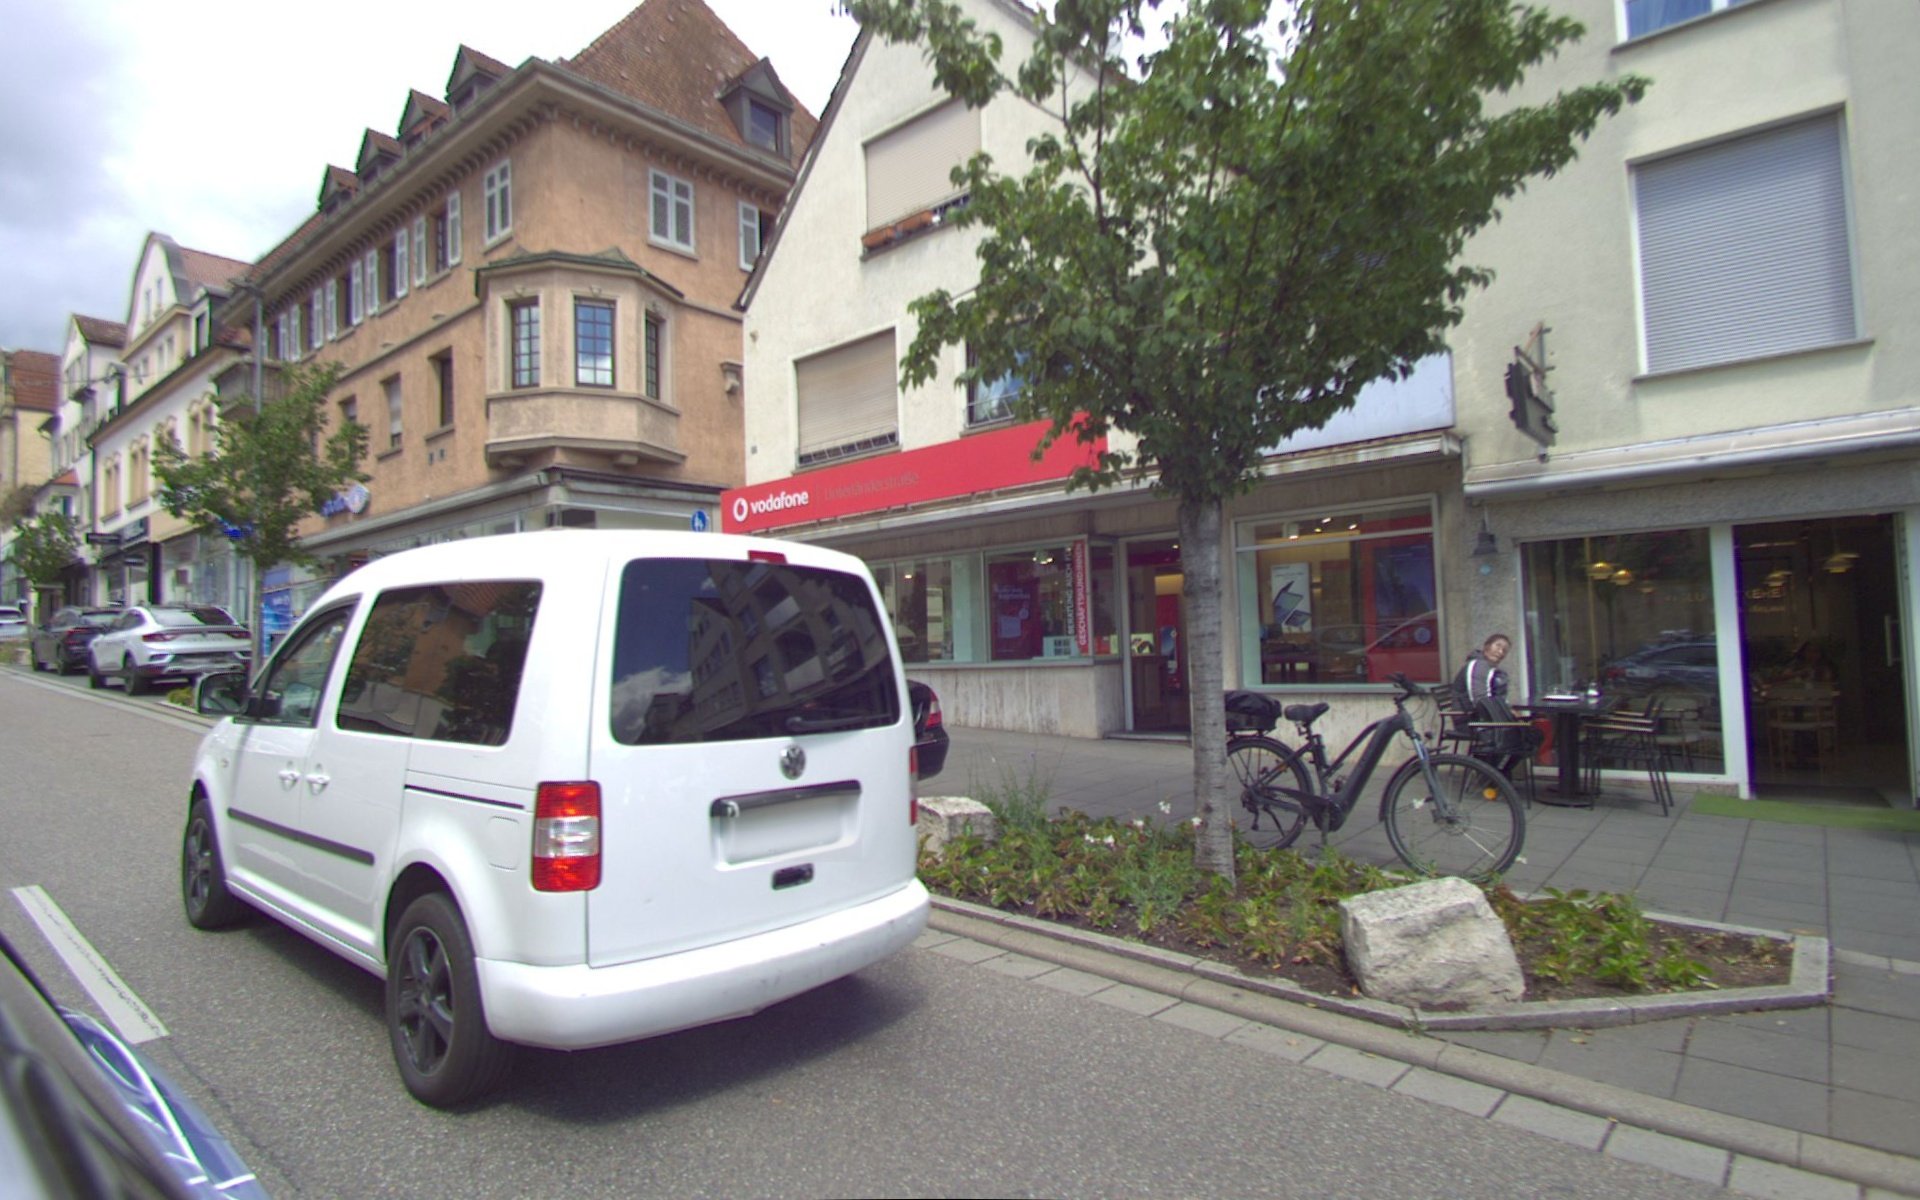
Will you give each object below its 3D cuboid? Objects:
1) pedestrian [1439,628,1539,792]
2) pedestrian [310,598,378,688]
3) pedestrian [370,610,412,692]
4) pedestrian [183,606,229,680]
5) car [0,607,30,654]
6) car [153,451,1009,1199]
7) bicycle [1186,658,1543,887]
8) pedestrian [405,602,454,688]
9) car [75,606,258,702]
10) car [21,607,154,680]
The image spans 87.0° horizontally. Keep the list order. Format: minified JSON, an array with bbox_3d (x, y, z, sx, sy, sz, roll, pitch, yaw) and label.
[{"bbox_3d":[4.326,0.865,8.279,0.598,1.256,0.589,-1,-1,40],"label":"pedestrian"},{"bbox_3d":[-11.979,0.816,19.679,0.905,1.679,0.862,0,-1,38],"label":"pedestrian"},{"bbox_3d":[-10.508,0.929,18.698,0.528,1.489,0.491,0,-1,38],"label":"pedestrian"},{"bbox_3d":[-16.728,0.945,22.465,0.650,1.585,0.621,-1,2,40],"label":"pedestrian"},{"bbox_3d":[-31.216,0.955,32.387,3.501,1.442,1.710,0,-1,40],"label":"car"},{"bbox_3d":[-1.974,0.612,4.486,4.210,1.816,1.728,-1,-4,41],"label":"car"},{"bbox_3d":[2.328,0.933,6.009,1.906,1.115,0.479,-1,-1,40],"label":"bicycle"},{"bbox_3d":[-10.100,0.838,19.261,0.641,1.594,0.607,0,-1,38],"label":"pedestrian"},{"bbox_3d":[-14.942,0.924,18.975,4.449,1.585,1.708,0,-1,38],"label":"car"},{"bbox_3d":[-20.594,0.963,23.844,3.958,1.537,1.648,0,0,38],"label":"car"}]
